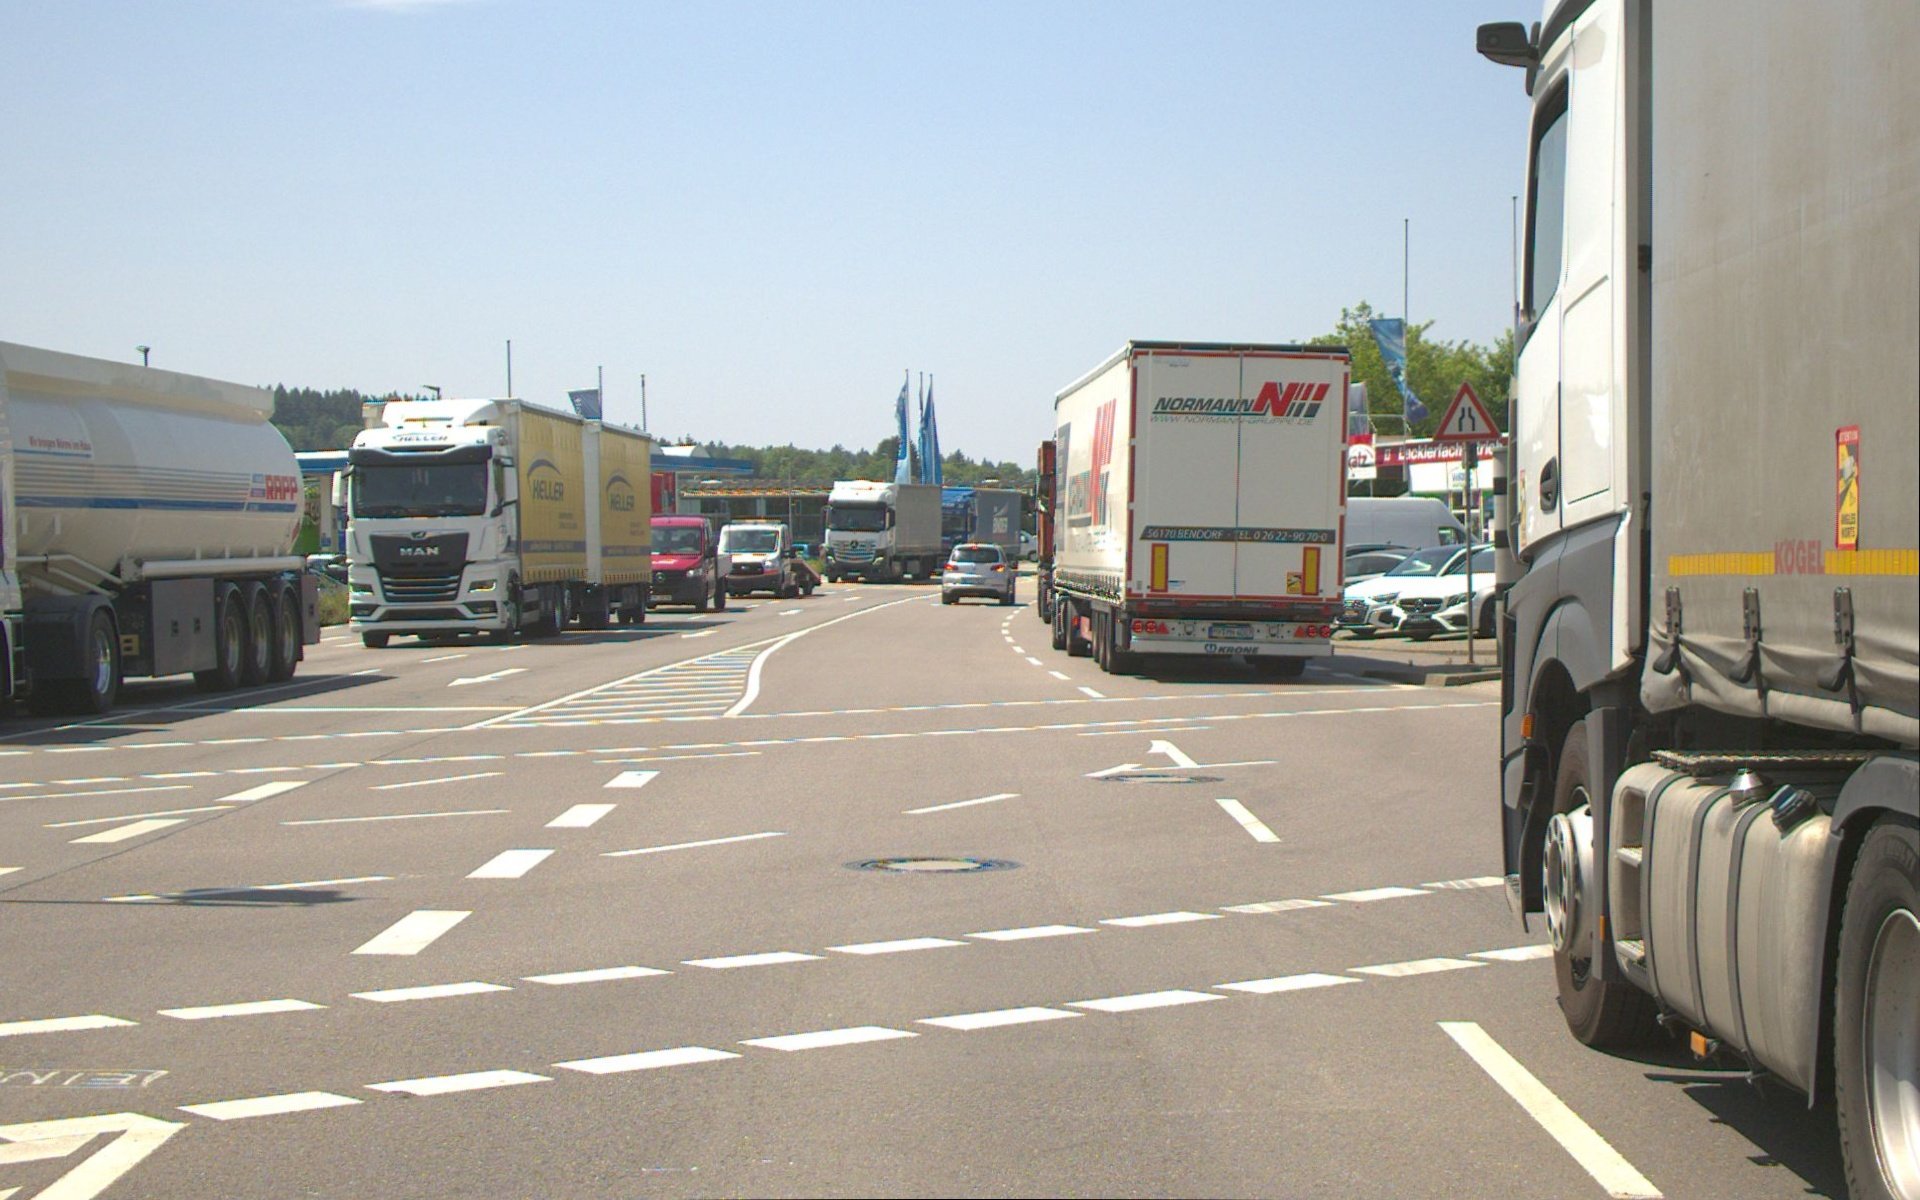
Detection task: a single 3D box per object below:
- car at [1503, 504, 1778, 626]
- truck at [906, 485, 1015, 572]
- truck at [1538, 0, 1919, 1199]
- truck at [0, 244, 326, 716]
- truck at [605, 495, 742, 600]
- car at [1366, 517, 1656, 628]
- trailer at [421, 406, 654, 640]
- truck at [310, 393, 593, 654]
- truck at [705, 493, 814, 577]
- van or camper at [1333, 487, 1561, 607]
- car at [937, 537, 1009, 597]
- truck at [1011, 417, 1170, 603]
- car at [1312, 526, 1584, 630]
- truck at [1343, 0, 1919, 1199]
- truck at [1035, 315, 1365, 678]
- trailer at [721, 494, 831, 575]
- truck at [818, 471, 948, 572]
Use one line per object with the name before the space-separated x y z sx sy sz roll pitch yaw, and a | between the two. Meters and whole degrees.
car | 10.784 -0.567 54.365 4.162 1.686 1.884 -4 2 -36
truck | 0.153 -3.282 163.258 2.845 3.876 17.000 1 1 8
truck | 2.994 -0.545 1.302 2.973 3.996 14.124 -2 1 -1
truck | -9.281 -1.073 34.152 2.605 4.004 15.130 -2 1 2
truck | -6.989 -1.275 84.697 2.396 2.436 6.871 1 1 3
car | 9.122 -0.465 56.751 4.726 1.547 1.999 -4 2 -38
trailer | -8.233 -1.501 68.382 3.011 4.272 10.058 -1 1 2
truck | -8.595 -1.291 59.533 3.029 4.091 10.354 -1 1 2
truck | -5.929 -1.936 102.342 2.425 2.332 5.674 -2 1 4
van or camper | 11.866 -1.295 84.042 5.369 2.895 2.232 0 1 4
car | 0.379 -0.908 94.892 1.923 1.605 4.095 0 0 1
truck | 2.835 -1.994 78.539 2.647 3.793 13.361 2 1 -2
car | 8.423 -0.388 59.254 4.462 1.404 1.746 -6 3 -30
truck | 2.918 -0.633 8.951 2.973 3.996 6.327 -2 1 -1
truck | 2.924 -1.312 47.926 2.973 4.079 17.636 1 1 -1
trailer | -5.634 -2.012 106.244 2.428 2.330 6.896 -2 1 4
truck | -3.013 -3.111 141.770 2.791 3.876 16.478 1 1 8
